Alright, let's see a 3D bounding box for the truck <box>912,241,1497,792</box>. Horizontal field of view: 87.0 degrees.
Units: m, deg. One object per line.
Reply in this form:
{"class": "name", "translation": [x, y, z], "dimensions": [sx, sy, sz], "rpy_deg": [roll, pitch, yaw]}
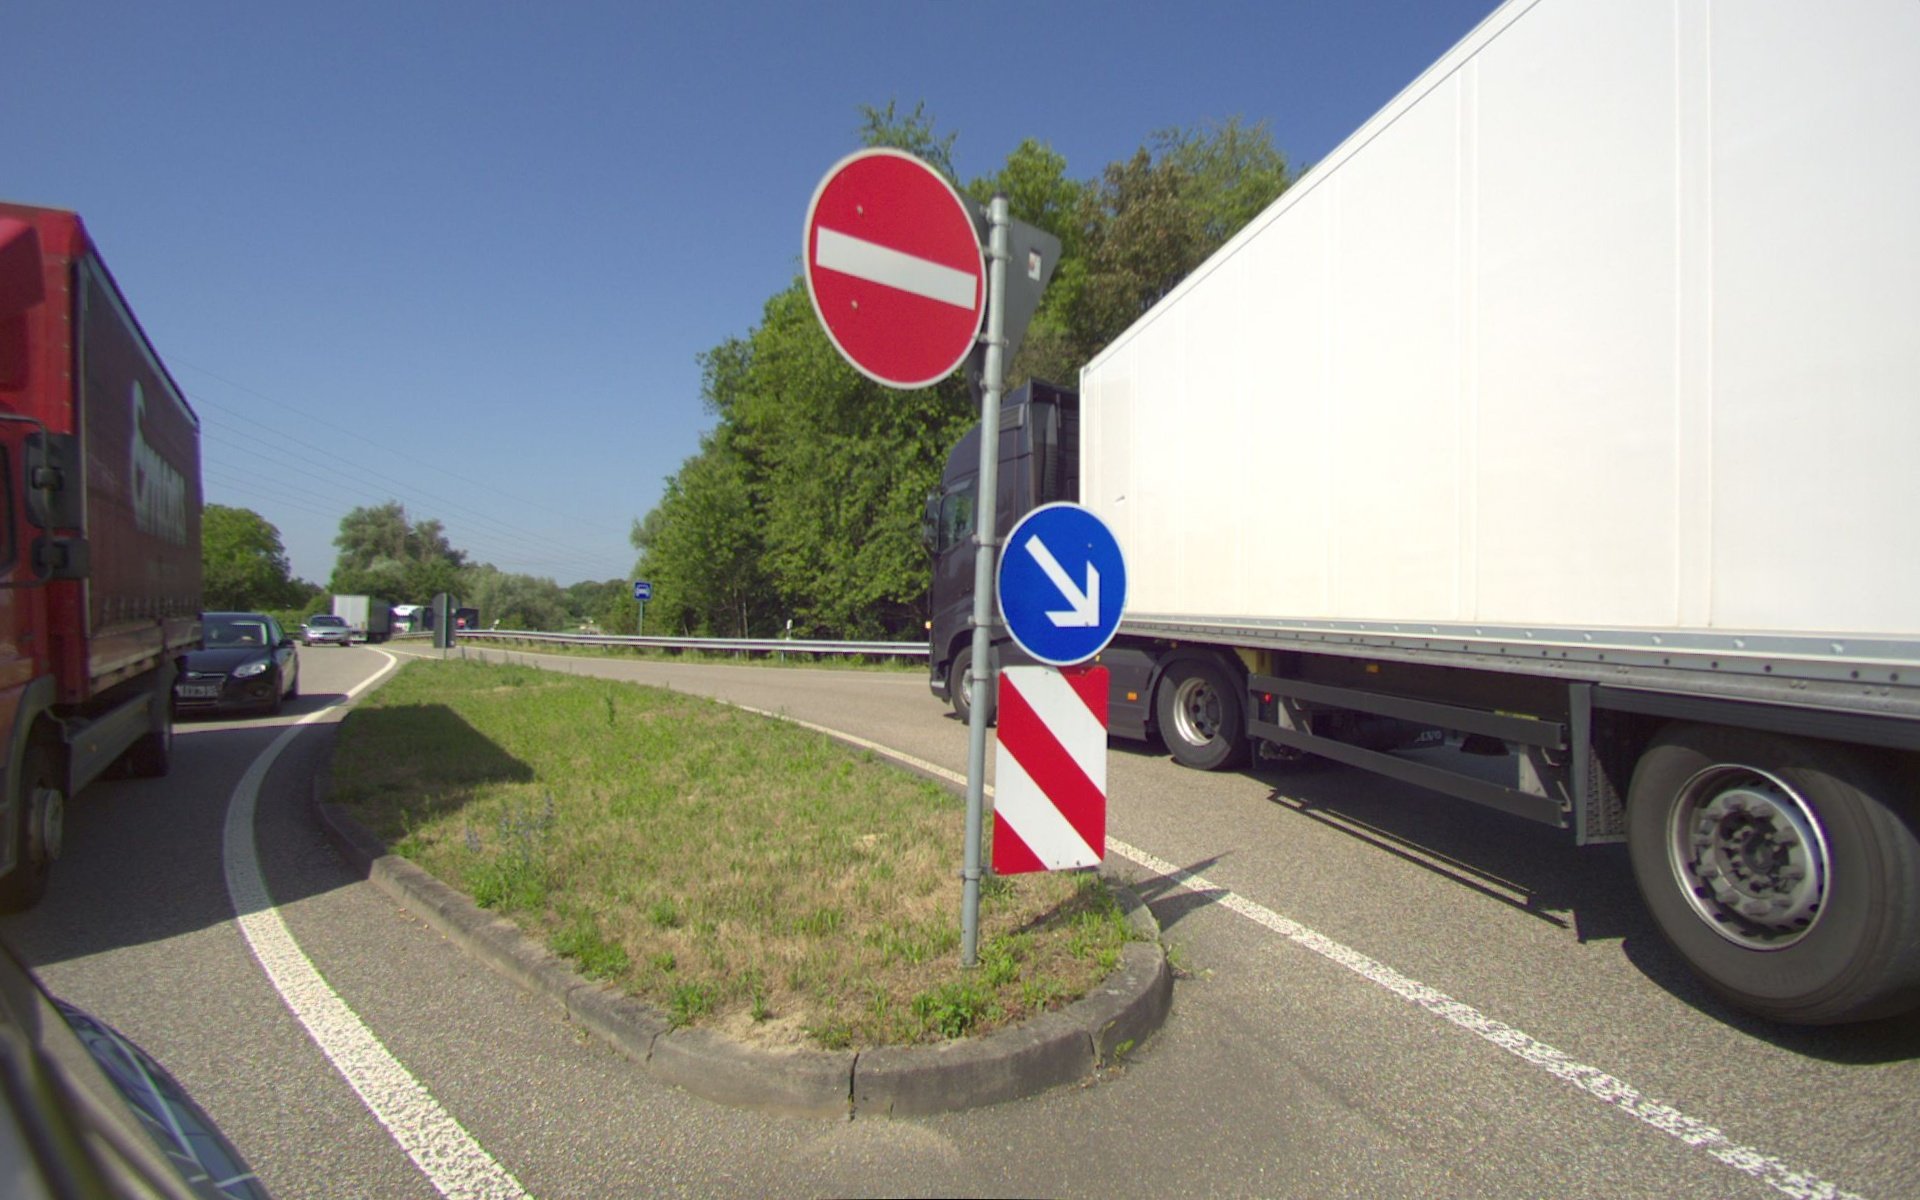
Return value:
{"class": "truck", "translation": [2.096, -0.613, 11.025], "dimensions": [2.830, 4.205, 5.989], "rpy_deg": [-1, -1, -29]}

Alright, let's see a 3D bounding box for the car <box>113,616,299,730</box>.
{"class": "car", "translation": [-10.965, 0.960, 14.983], "dimensions": [1.758, 1.425, 4.012], "rpy_deg": [0, -1, -30]}

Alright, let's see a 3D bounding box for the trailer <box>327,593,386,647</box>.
{"class": "trailer", "translation": [-52.308, 1.819, 88.057], "dimensions": [2.908, 4.300, 14.026], "rpy_deg": [2, -2, -25]}

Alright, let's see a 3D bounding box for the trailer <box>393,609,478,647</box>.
{"class": "trailer", "translation": [-63.833, 3.443, 123.757], "dimensions": [2.890, 4.272, 13.975], "rpy_deg": [1, -2, 1]}

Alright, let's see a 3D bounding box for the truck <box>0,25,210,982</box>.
{"class": "truck", "translation": [-7.276, -0.312, 7.103], "dimensions": [2.646, 3.689, 9.288], "rpy_deg": [0, -1, -33]}

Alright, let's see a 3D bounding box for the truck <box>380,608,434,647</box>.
{"class": "truck", "translation": [-63.894, 3.189, 117.028], "dimensions": [2.901, 4.270, 5.729], "rpy_deg": [1, -2, 1]}

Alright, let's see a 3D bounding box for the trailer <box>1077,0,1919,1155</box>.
{"class": "trailer", "translation": [3.631, -0.681, 4.644], "dimensions": [2.851, 4.197, 14.003], "rpy_deg": [-1, 0, -7]}

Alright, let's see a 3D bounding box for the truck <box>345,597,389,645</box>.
{"class": "truck", "translation": [-55.058, 1.972, 94.072], "dimensions": [2.890, 4.279, 5.751], "rpy_deg": [2, -2, -26]}

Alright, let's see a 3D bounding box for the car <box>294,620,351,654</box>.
{"class": "car", "translation": [-28.565, 1.625, 45.298], "dimensions": [1.759, 1.396, 4.387], "rpy_deg": [0, -1, -37]}
